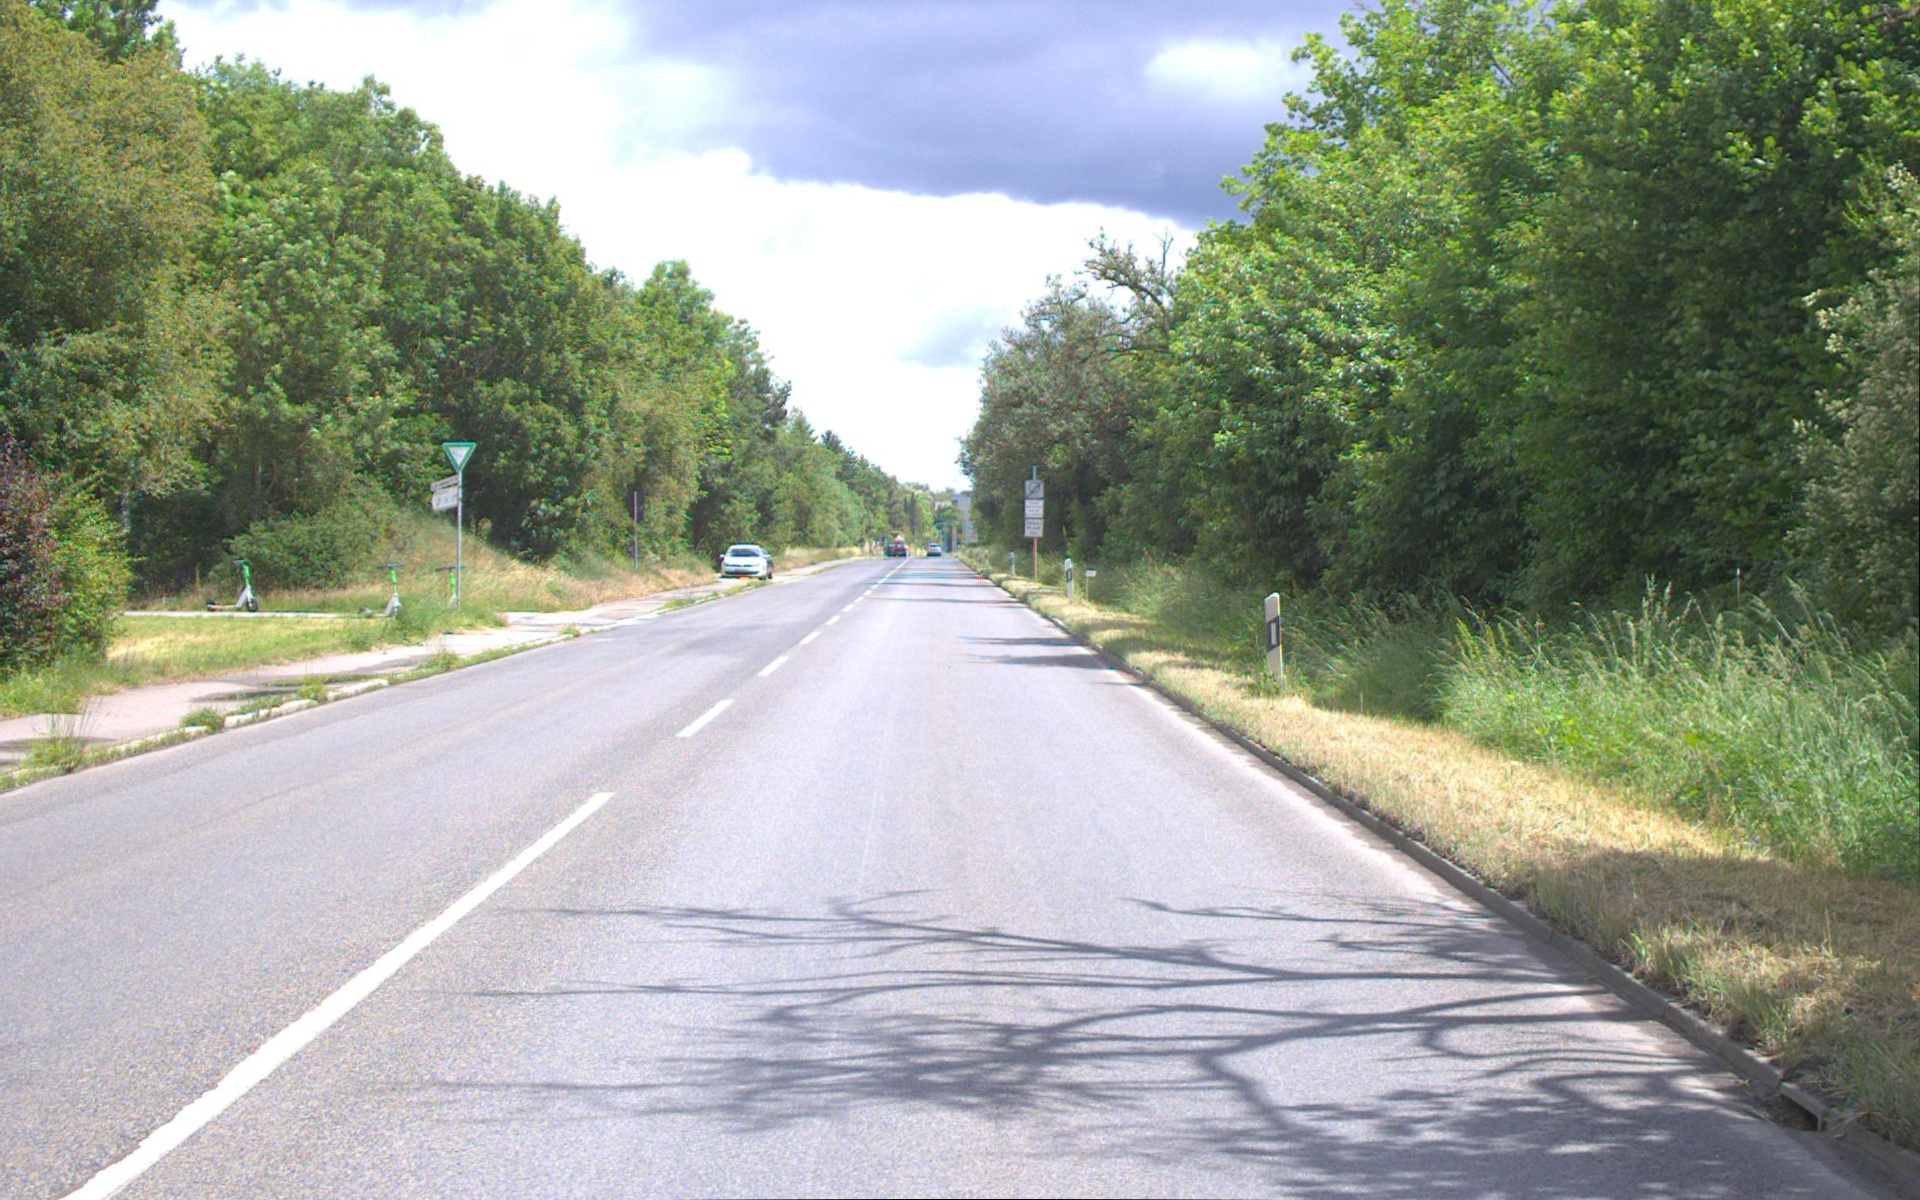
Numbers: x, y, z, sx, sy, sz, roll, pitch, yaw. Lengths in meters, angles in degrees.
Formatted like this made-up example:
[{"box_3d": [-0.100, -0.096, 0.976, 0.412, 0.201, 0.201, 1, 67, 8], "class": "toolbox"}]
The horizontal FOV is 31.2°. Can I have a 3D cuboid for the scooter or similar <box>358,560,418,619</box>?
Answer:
[{"box_3d": [-11.478, -0.213, 68.977, 1.350, 1.164, 0.406, 1, 1, 41], "class": "scooter or similar"}]

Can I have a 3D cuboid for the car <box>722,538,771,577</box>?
[{"box_3d": [-8.898, -1.767, 143.667, 1.798, 1.538, 3.955, 0, 0, 0], "class": "car"}]

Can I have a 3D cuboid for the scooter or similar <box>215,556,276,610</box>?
[{"box_3d": [-15.804, -0.381, 76.047, 1.244, 1.164, 0.407, 1, 1, 13], "class": "scooter or similar"}]
